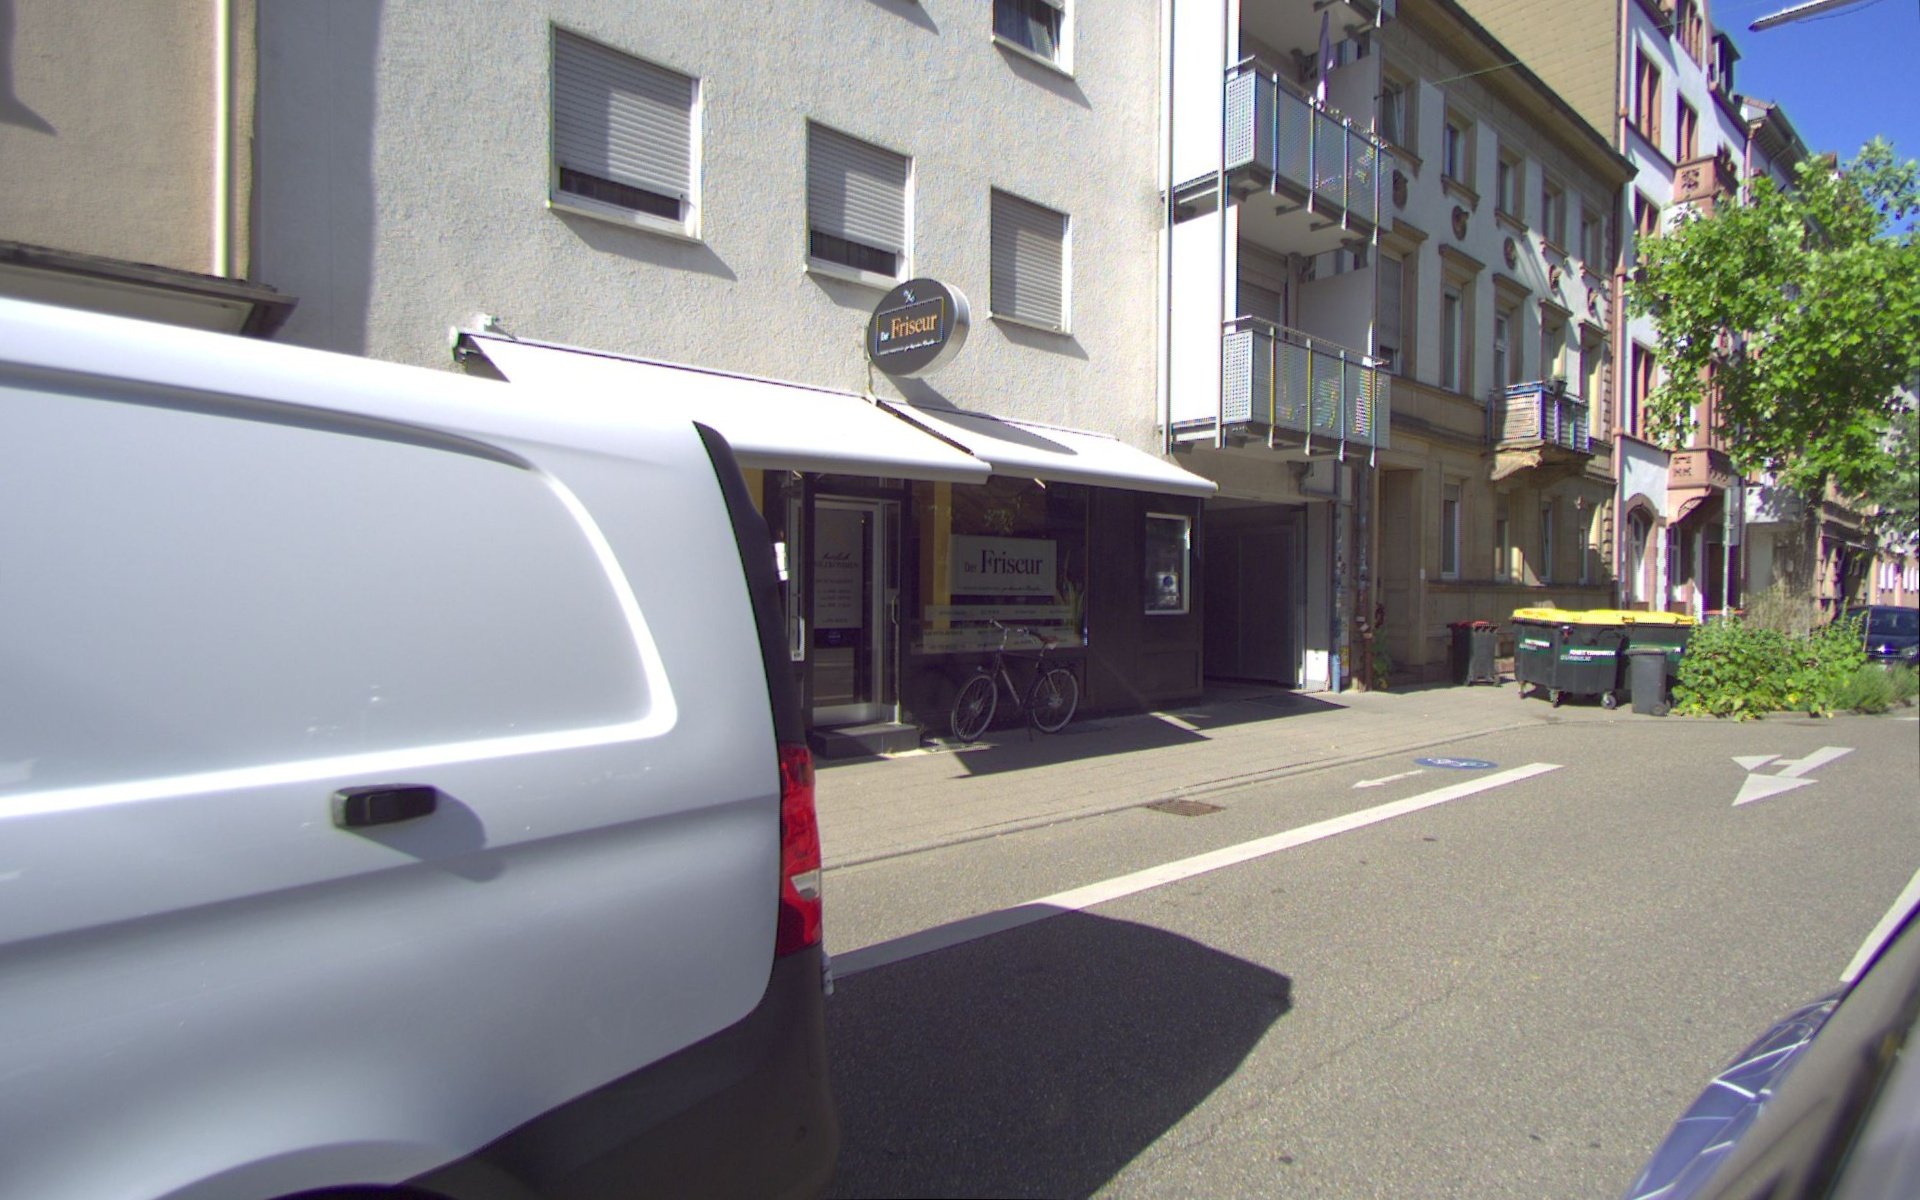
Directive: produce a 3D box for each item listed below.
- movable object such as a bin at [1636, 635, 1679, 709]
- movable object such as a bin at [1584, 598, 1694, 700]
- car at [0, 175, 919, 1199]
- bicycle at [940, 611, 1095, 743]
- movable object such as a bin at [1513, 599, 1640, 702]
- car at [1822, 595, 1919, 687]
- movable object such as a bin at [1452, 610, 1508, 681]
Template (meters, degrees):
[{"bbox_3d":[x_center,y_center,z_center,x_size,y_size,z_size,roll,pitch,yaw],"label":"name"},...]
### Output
[{"bbox_3d":[9.573,0.975,13.890,0.399,0.933,0.478,3,4,41],"label":"movable object such as a bin"},{"bbox_3d":[9.961,0.688,14.904,0.943,1.364,1.066,1,3,11],"label":"movable object such as a bin"},{"bbox_3d":[-2.498,0.503,0.881,4.911,1.892,1.838,0,1,-43],"label":"car"},{"bbox_3d":[0.605,0.721,10.107,1.760,1.193,0.402,0,0,-41],"label":"bicycle"},{"bbox_3d":[8.844,0.703,14.581,1.030,1.341,1.216,1,3,1],"label":"movable object such as a bin"},{"bbox_3d":[16.839,0.677,18.217,3.293,1.510,1.550,0,1,-41],"label":"car"},{"bbox_3d":[8.535,0.742,16.627,0.557,1.094,0.617,1,3,1],"label":"movable object such as a bin"}]
